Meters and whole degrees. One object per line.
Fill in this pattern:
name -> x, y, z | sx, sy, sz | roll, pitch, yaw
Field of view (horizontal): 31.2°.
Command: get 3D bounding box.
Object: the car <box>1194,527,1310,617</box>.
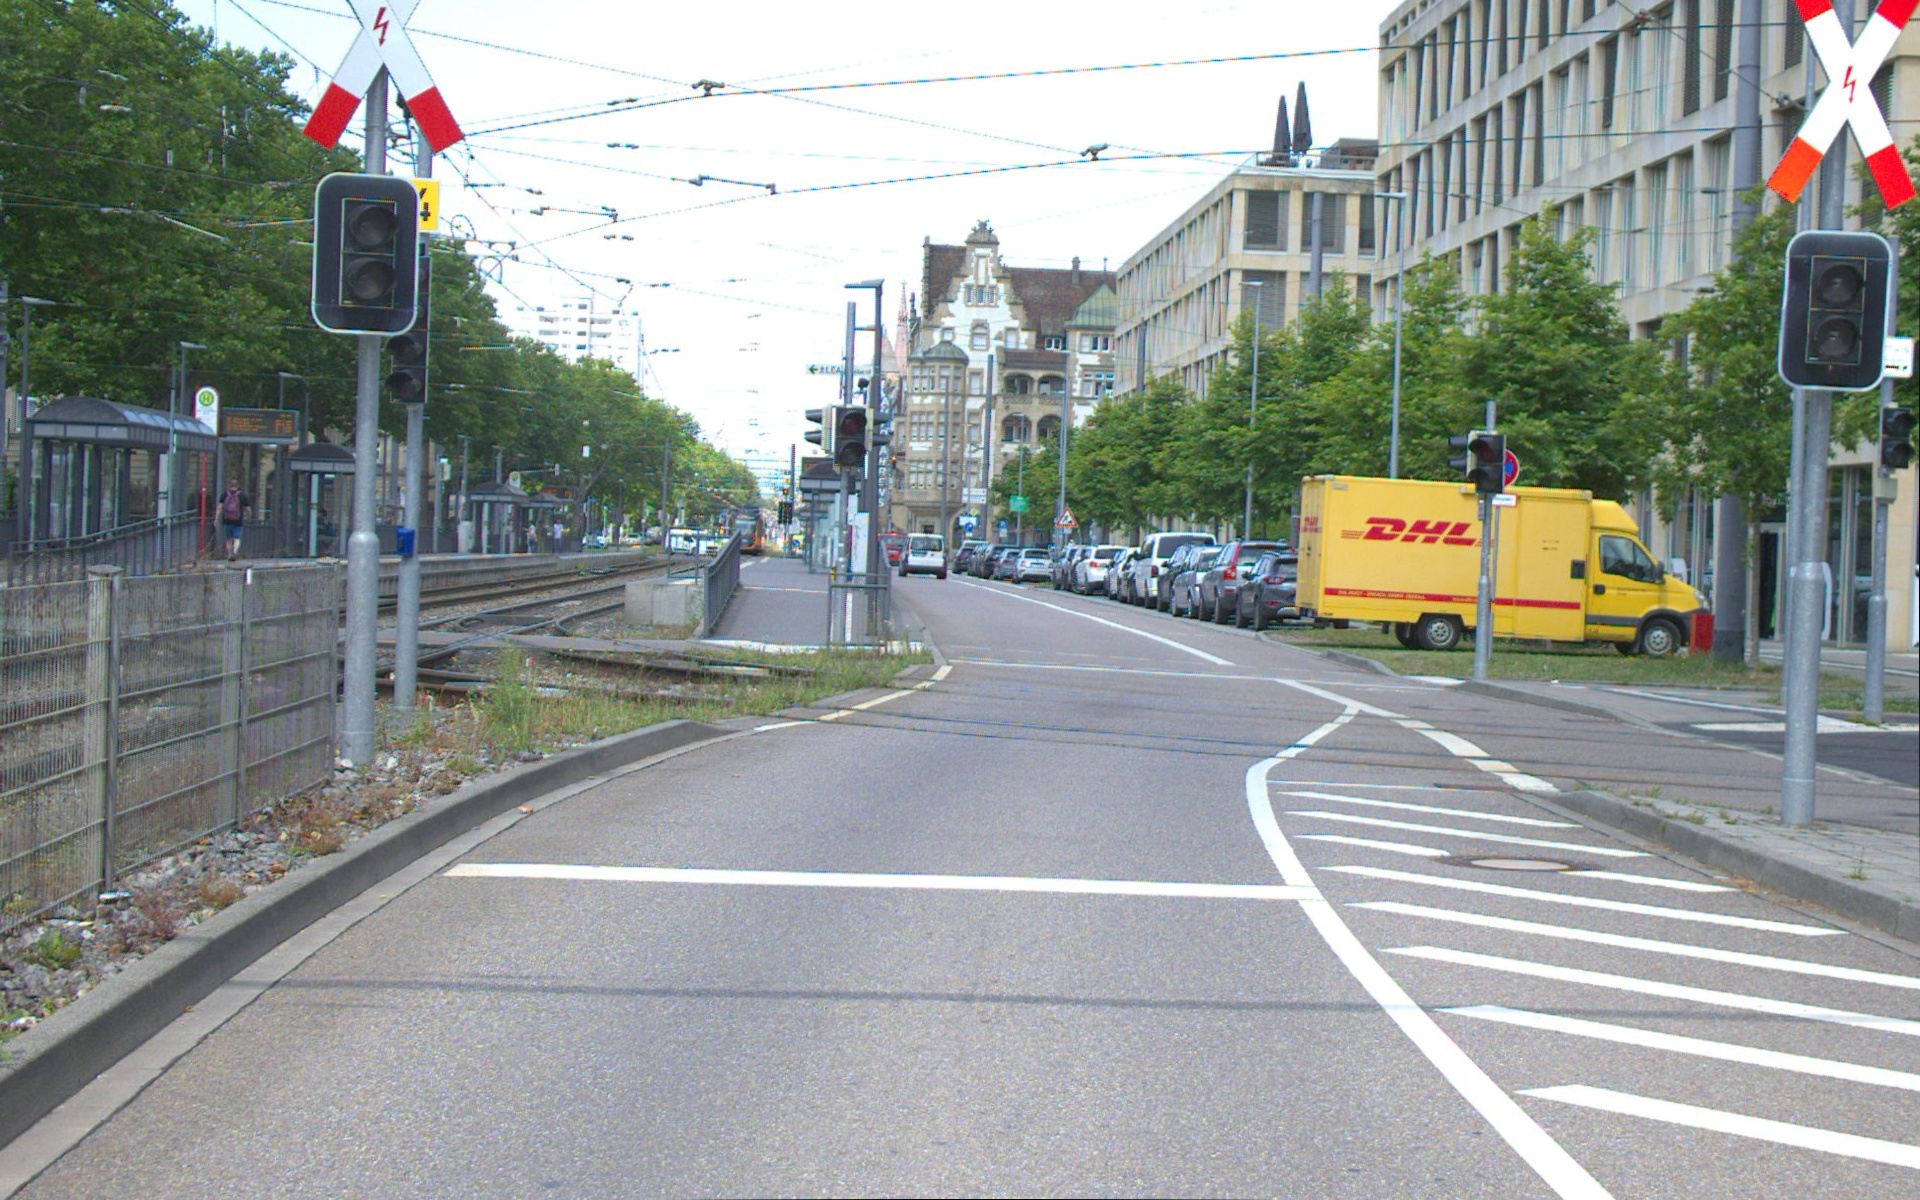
car -> 6.080, -0.610, 72.000 | 1.769, 1.761, 4.841 | 1, 1, -3

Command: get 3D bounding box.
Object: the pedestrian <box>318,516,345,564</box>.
pedestrian -> -16.733, -1.596, 91.481 | 0.552, 1.265, 0.768 | 2, 1, -1

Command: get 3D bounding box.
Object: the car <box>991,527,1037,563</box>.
car -> 2.398, -2.464, 153.585 | 1.591, 1.429, 4.108 | 3, 1, -4

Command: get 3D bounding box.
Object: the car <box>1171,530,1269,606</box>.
car -> 5.822, -0.739, 77.336 | 1.721, 1.614, 3.860 | 1, 1, -3

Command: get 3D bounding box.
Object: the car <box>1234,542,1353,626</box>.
car -> 6.423, -0.339, 66.600 | 1.691, 1.499, 4.069 | 1, 1, -3

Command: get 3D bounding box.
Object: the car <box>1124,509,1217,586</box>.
car -> 5.407, -1.379, 88.707 | 1.881, 1.932, 4.844 | 0, 1, -3

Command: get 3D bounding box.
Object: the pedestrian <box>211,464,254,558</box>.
pedestrian -> -14.347, -1.748, 67.808 | 0.706, 1.838, 0.865 | 0, 1, -3

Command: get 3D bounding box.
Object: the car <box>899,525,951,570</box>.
car -> -1.434, -2.157, 140.321 | 1.868, 1.740, 4.001 | 3, 1, -3

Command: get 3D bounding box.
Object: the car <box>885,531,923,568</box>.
car -> -3.038, -2.760, 186.872 | 1.993, 2.007, 4.001 | 0, 1, -2

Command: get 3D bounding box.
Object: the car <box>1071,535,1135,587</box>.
car -> 4.523, -1.270, 109.416 | 1.685, 1.600, 4.152 | 0, 1, -3

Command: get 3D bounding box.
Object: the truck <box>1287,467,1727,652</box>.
truck -> 9.086, -0.674, 57.521 | 6.805, 2.857, 2.455 | 1, 1, -4

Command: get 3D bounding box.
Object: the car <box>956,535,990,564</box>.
car -> 0.663, -2.667, 180.217 | 1.443, 1.465, 4.093 | -1, 1, -4

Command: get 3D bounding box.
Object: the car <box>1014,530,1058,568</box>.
car -> 3.130, -2.110, 142.142 | 1.591, 1.455, 3.613 | 3, 1, -1
